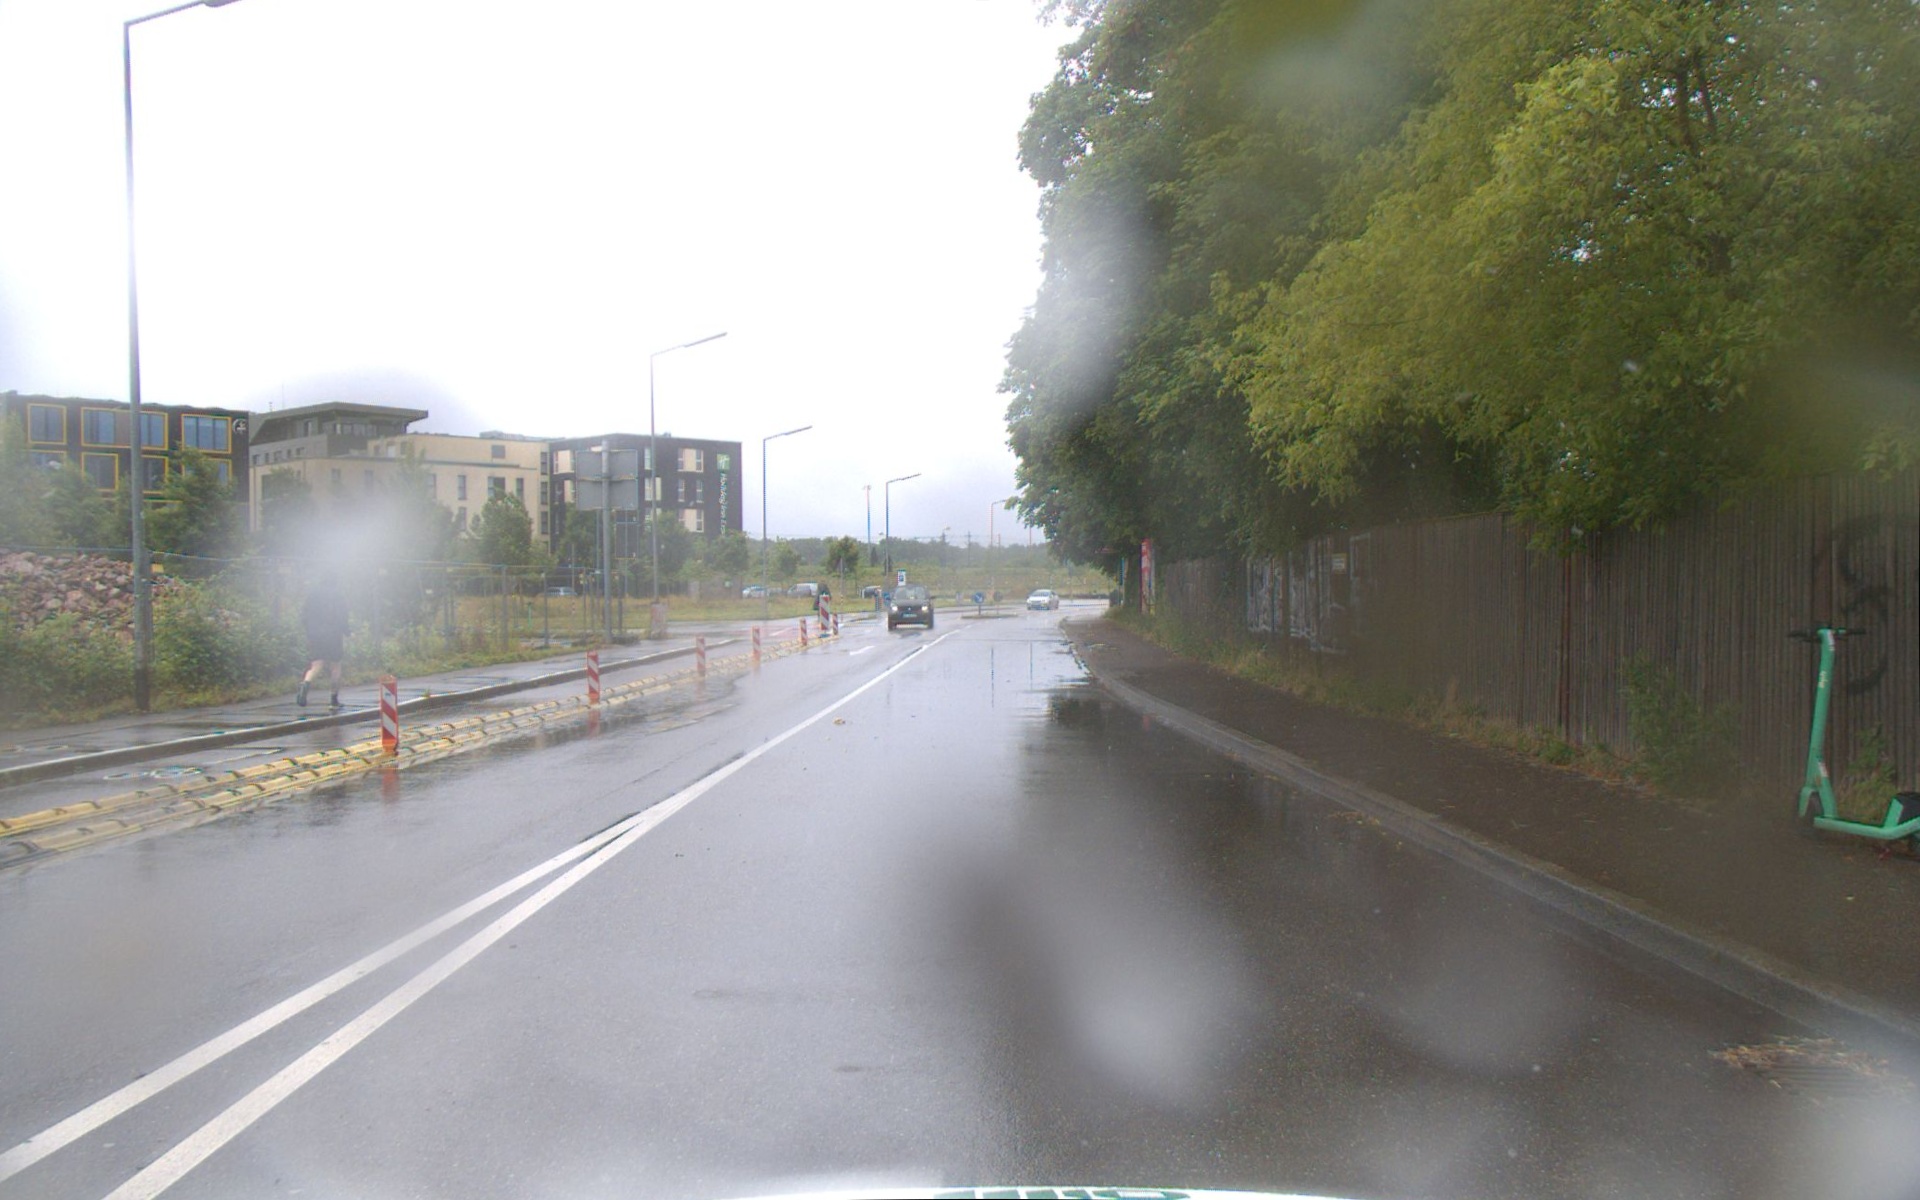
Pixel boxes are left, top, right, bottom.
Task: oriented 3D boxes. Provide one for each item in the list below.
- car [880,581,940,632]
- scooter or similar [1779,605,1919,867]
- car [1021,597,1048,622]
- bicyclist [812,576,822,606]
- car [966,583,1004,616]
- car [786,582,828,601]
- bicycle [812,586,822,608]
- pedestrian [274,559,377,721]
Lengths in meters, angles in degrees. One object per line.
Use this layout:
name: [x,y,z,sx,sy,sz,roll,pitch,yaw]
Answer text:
car: [-1.812,0.214,61.226,1.952,1.803,4.001,-1,0,1]
scooter or similar: [4.828,0.669,8.534,0.481,1.256,1.370,0,-2,-1]
car: [5.723,0.737,126.538,1.951,1.803,4.001,-1,-2,4]
bicyclist: [-6.931,-0.440,80.186,0.435,1.428,0.550,0,-2,-2]
car: [1.475,0.010,97.023,1.951,1.803,4.001,-1,-2,4]
car: [-15.497,-0.887,167.618,3.966,1.803,1.969,1,-3,-43]
bicycle: [-6.912,-0.134,80.099,0.418,1.037,1.611,0,0,-3]
pedestrian: [-8.306,0.528,21.682,0.828,2.049,1.132,-1,-2,5]
